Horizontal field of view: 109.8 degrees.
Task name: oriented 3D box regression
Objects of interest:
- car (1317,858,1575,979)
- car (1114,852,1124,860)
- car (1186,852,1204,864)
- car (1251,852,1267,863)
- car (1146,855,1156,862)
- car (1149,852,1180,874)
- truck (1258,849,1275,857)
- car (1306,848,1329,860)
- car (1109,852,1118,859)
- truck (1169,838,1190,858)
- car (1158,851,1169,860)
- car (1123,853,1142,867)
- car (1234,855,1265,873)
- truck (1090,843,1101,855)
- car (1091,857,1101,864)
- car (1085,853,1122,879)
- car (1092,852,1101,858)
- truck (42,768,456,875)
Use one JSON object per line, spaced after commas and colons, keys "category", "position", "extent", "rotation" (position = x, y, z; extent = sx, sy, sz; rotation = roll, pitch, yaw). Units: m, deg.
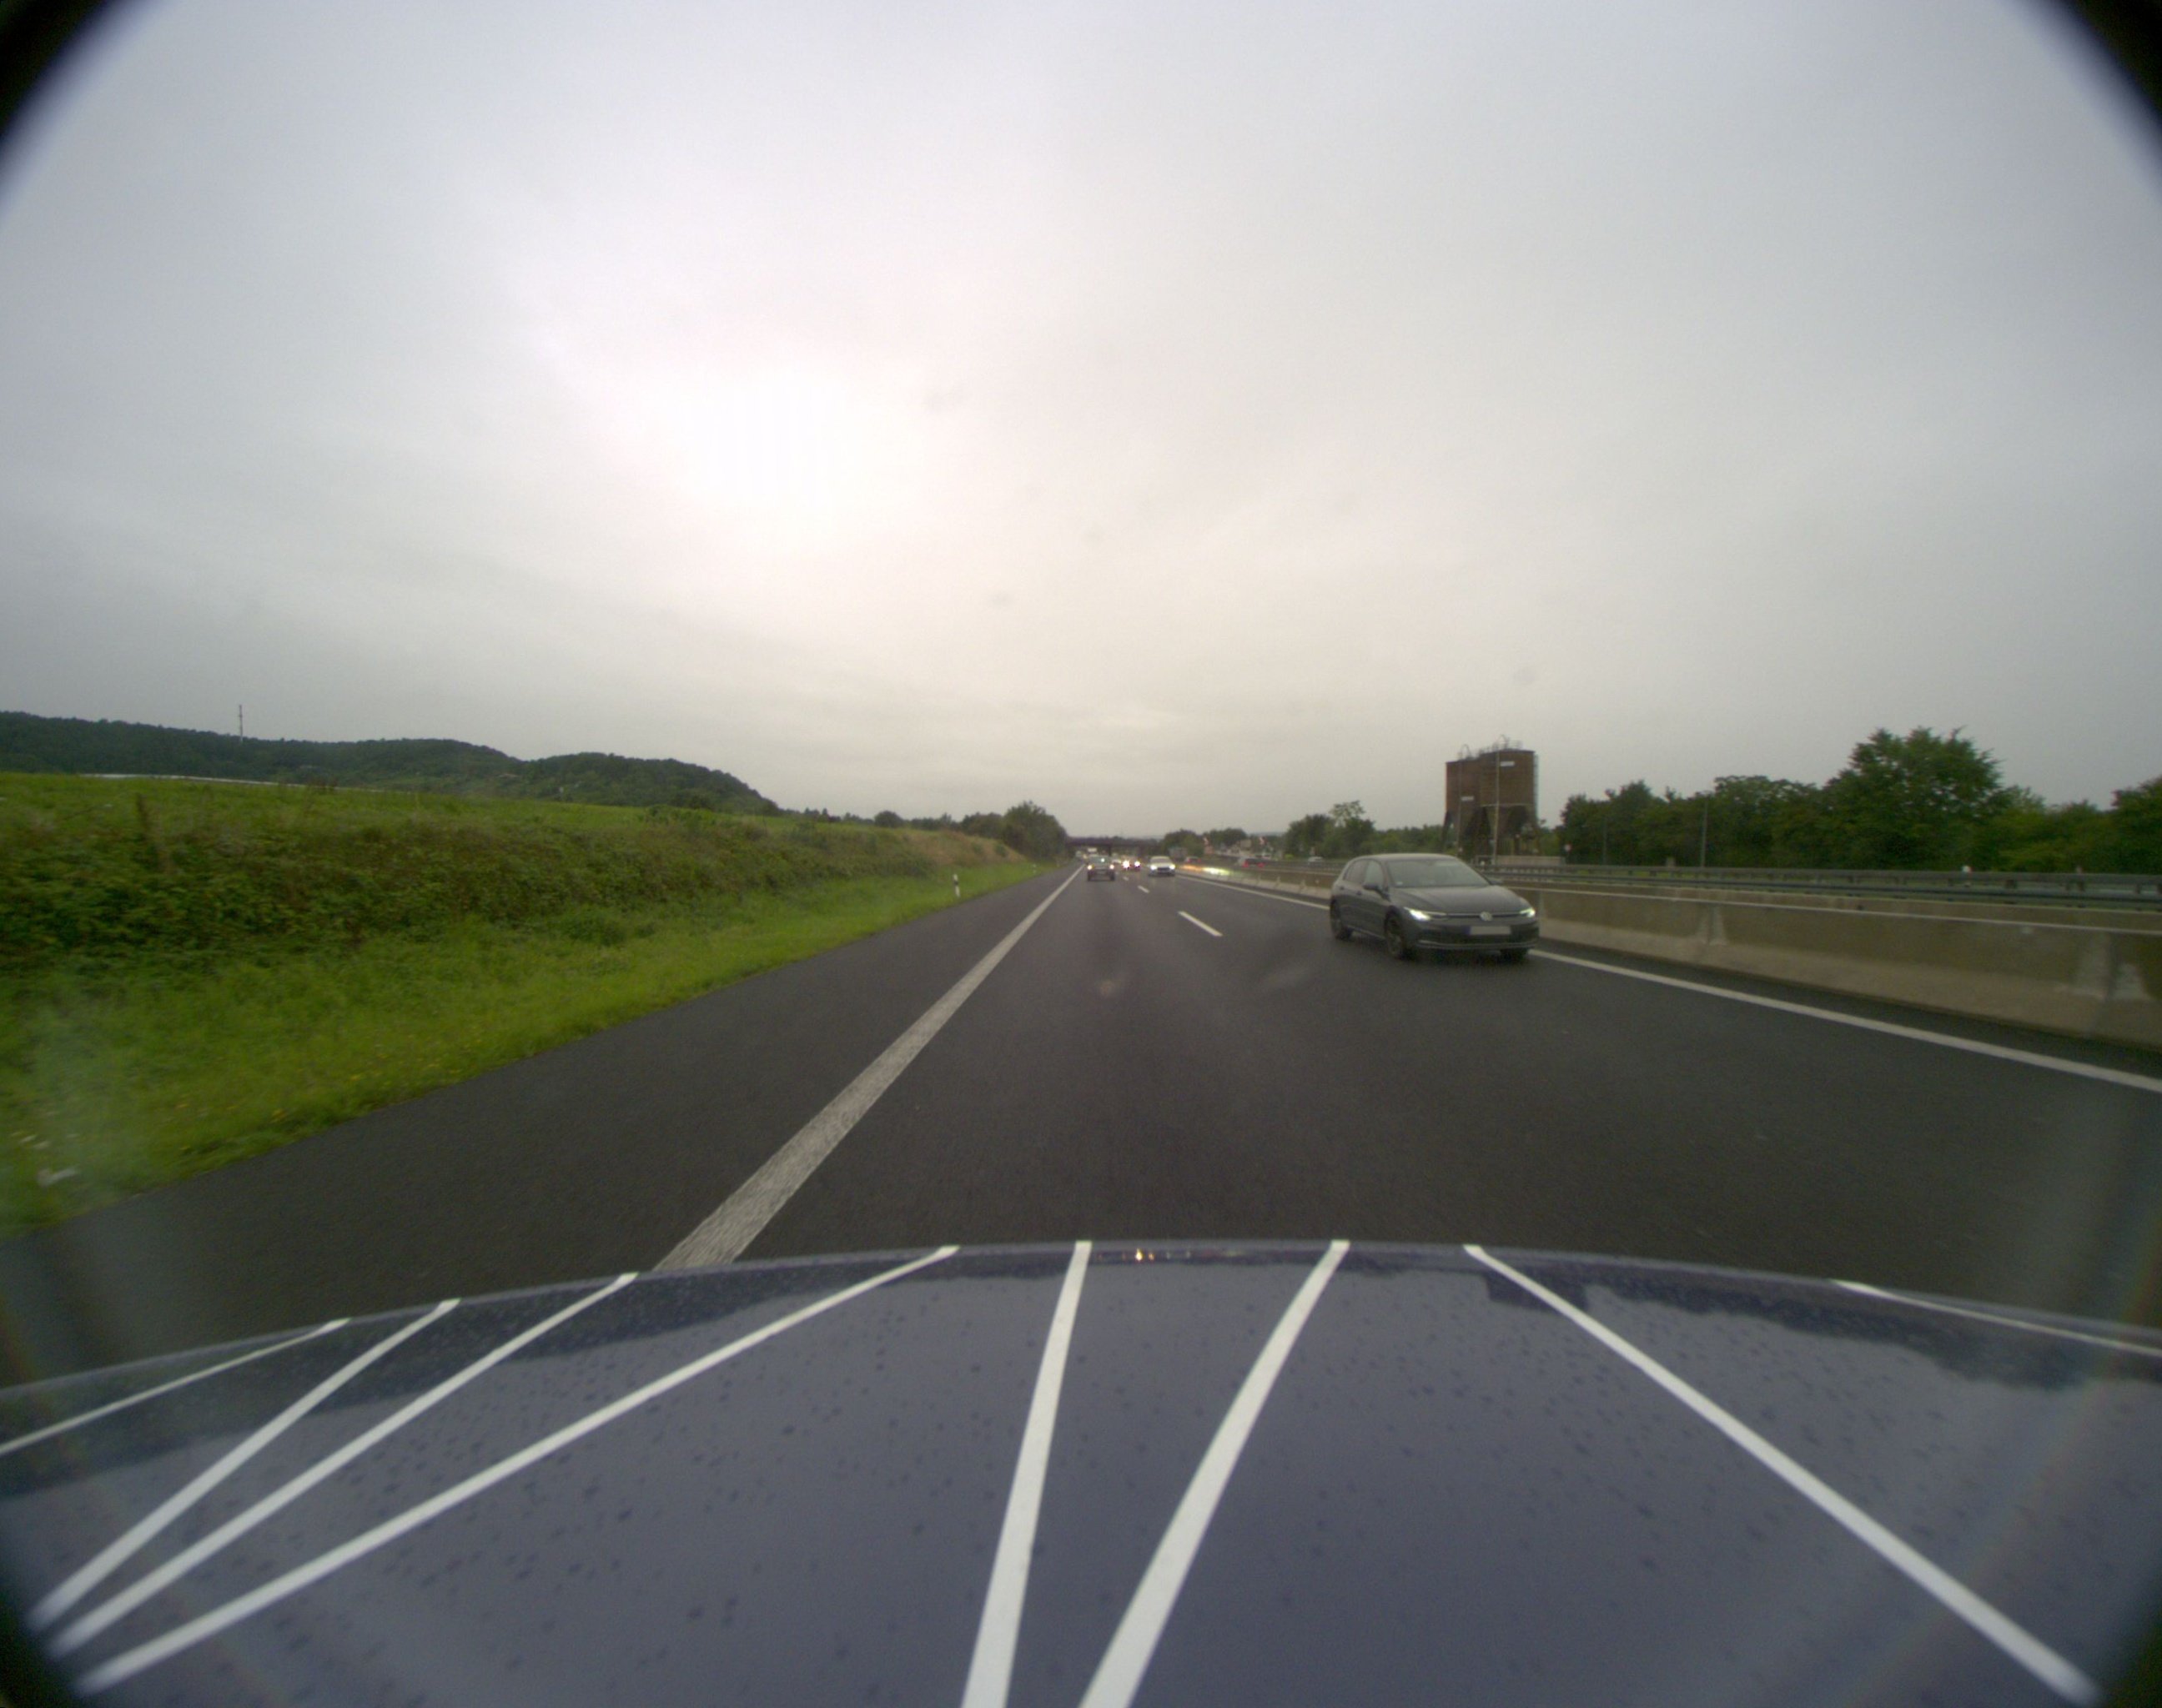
{"category": "car", "position": [5.203, 0.810, 11.594], "extent": [1.835, 1.417, 4.367], "rotation": [-2, 0, 0]}
{"category": "car", "position": [7.458, 0.420, 149.159], "extent": [1.941, 1.341, 4.001], "rotation": [-3, 0, 2]}
{"category": "car", "position": [14.763, 0.512, 98.702], "extent": [1.802, 1.499, 4.000], "rotation": [0, 0, 1]}
{"category": "car", "position": [32.374, 0.610, 138.488], "extent": [1.907, 1.797, 4.461], "rotation": [-1, 0, 0]}
{"category": "car", "position": [16.053, 0.940, 174.226], "extent": [1.785, 1.622, 3.999], "rotation": [0, 0, -1]}
{"category": "car", "position": [6.245, 0.634, 57.087], "extent": [1.998, 1.582, 4.817], "rotation": [-2, 0, 3]}
{"category": "truck", "position": [37.313, -0.180, 152.965], "extent": [1.999, 1.635, 5.405], "rotation": [-3, 0, -1]}
{"category": "car", "position": [34.897, 0.023, 112.202], "extent": [1.998, 1.751, 4.505], "rotation": [-1, 0, 1]}
{"category": "car", "position": [7.520, 0.423, 178.346], "extent": [1.998, 1.565, 4.000], "rotation": [0, 0, 1]}
{"category": "truck", "position": [19.511, -1.134, 151.809], "extent": [2.976, 3.689, 11.910], "rotation": [-2, 0, 2]}
{"category": "car", "position": [15.145, 0.240, 139.500], "extent": [1.717, 1.586, 4.000], "rotation": [-1, 0, 1]}
{"category": "car", "position": [5.275, 0.599, 78.684], "extent": [1.835, 1.417, 4.368], "rotation": [-1, 0, 2]}
{"category": "car", "position": [13.969, 0.799, 63.280], "extent": [1.860, 1.383, 4.446], "rotation": [-1, 0, 3]}
{"category": "truck", "position": [4.127, -1.242, 212.859], "extent": [2.728, 3.098, 7.960], "rotation": [-3, 0, 1]}
{"category": "car", "position": [3.057, 1.280, 157.444], "extent": [1.941, 1.341, 4.000], "rotation": [-3, 0, 1]}
{"category": "car", "position": [1.521, 0.753, 49.919], "extent": [2.242, 1.565, 4.817], "rotation": [-2, 0, 2]}
{"category": "car", "position": [3.350, 0.216, 164.076], "extent": [1.941, 1.341, 4.000], "rotation": [-3, 0, 1]}
{"category": "truck", "position": [-42.411, -1.462, 40.847], "extent": [3.831, 4.514, 16.880], "rotation": [-1, 1, -1]}
